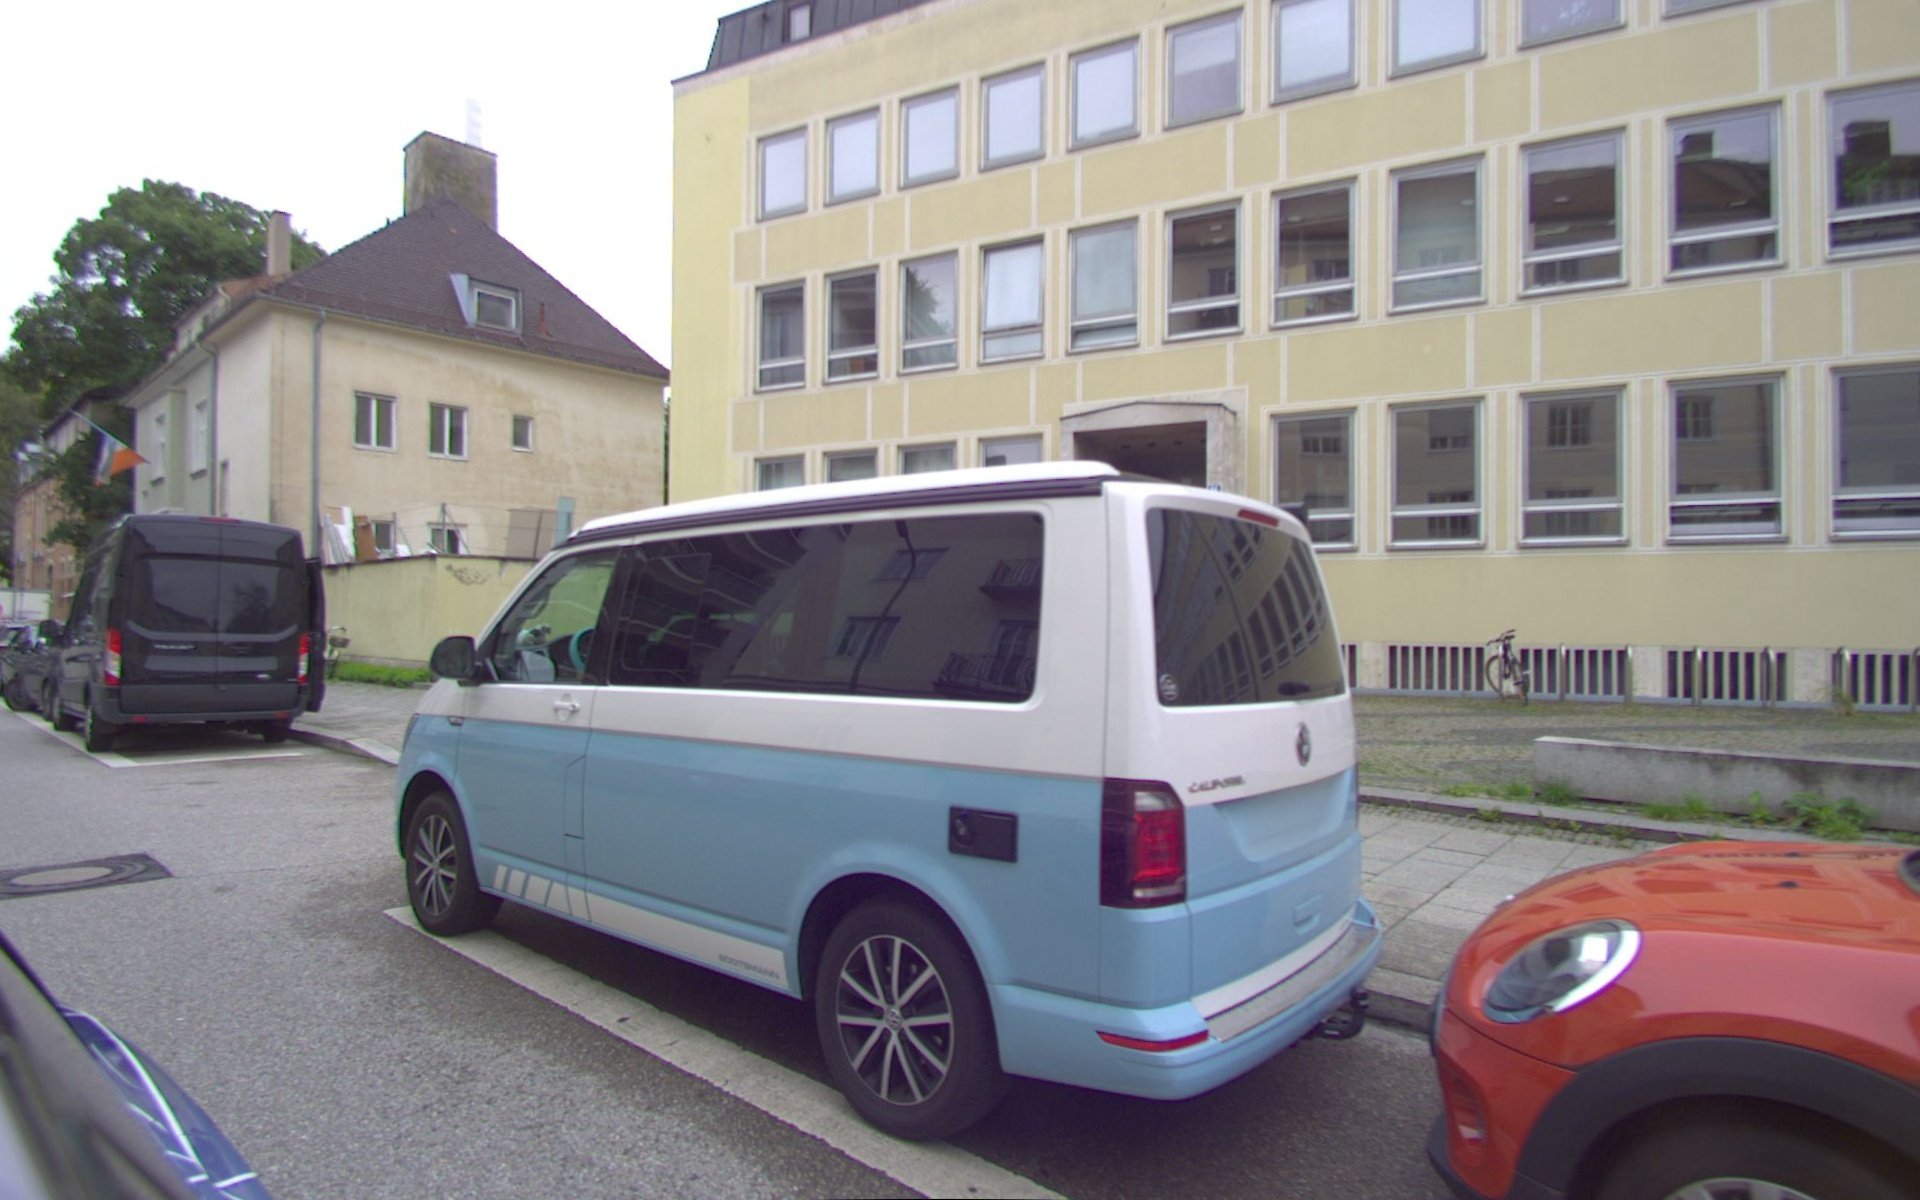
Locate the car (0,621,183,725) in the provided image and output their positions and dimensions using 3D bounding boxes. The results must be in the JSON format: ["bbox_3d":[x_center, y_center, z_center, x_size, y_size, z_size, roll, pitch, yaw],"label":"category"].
[{"bbox_3d":[-14.389,1.109,16.636,3.484,1.505,1.686,-1,-1,37],"label":"car"}]

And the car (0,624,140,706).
[{"bbox_3d":[-17.702,1.206,19.863,4.066,1.436,1.676,-1,-2,39],"label":"car"}]

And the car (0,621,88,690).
[{"bbox_3d":[-22.311,1.260,24.153,4.644,1.511,1.793,-1,-2,43],"label":"car"}]

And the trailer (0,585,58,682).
[{"bbox_3d":[-26.390,0.908,28.046,1.792,2.555,3.392,6,-5,-43],"label":"trailer"}]

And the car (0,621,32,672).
[{"bbox_3d":[-30.357,1.416,31.531,3.841,1.525,1.744,-1,-2,42],"label":"car"}]

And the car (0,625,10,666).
[{"bbox_3d":[-34.312,1.573,35.085,3.746,1.357,1.793,-1,-1,43],"label":"car"}]

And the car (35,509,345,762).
[{"bbox_3d":[-10.375,0.452,13.427,5.653,2.666,2.272,-1,-3,43],"label":"car"}]

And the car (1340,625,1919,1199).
[{"bbox_3d":[2.864,0.756,1.552,3.916,1.398,1.725,-1,-1,41],"label":"car"}]

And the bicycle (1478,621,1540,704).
[{"bbox_3d":[7.579,0.825,14.035,0.577,1.022,1.937,-1,0,24],"label":"bicycle"}]

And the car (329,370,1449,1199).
[{"bbox_3d":[-0.760,0.551,4.519,5.016,1.994,1.909,-1,-2,39],"label":"car"}]

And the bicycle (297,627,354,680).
[{"bbox_3d":[-14.229,1.175,22.670,1.741,1.140,0.573,-1,-1,40],"label":"bicycle"}]
